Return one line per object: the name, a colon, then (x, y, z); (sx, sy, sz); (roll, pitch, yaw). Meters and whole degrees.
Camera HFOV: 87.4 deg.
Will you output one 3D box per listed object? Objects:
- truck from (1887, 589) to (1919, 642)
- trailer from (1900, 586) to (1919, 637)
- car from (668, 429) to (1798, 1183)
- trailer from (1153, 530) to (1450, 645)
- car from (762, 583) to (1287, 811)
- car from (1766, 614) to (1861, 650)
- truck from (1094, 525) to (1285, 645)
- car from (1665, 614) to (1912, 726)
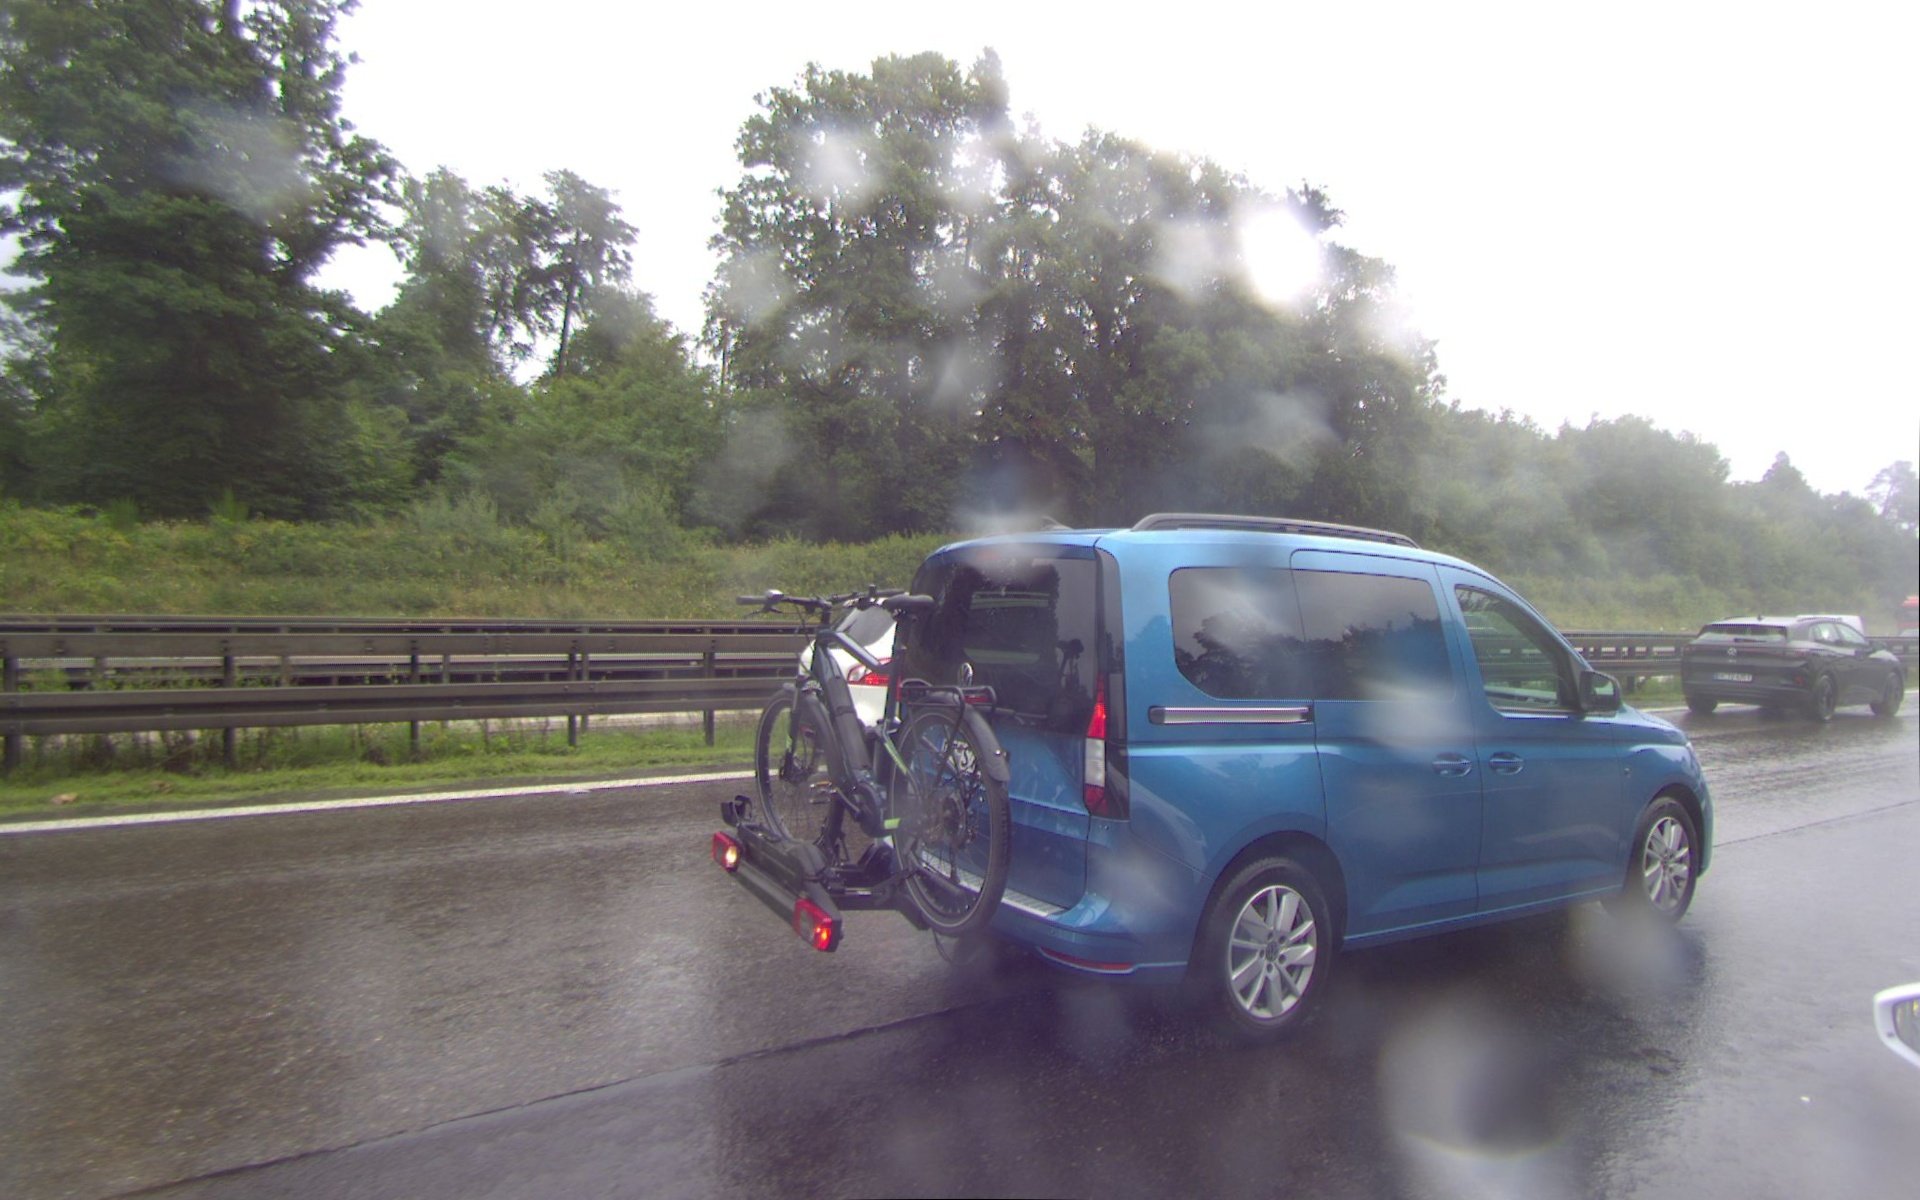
truck: (74.757, 1.247, 78.093); (4.835, 4.006, 2.690); (1, -1, -31)
trailer: (80.755, 1.060, 81.758); (13.803, 4.006, 2.705); (2, -2, -32)
car: (1.377, 0.561, 4.751); (4.952, 1.937, 2.260); (1, 0, -28)
trailer: (13.527, -0.303, 38.820); (13.408, 3.869, 3.008); (1, 0, -32)
car: (0.657, 0.711, 8.985); (4.413, 1.613, 1.837); (1, 0, -30)
car: (38.679, 1.429, 45.504); (4.655, 1.527, 1.983); (1, 0, -32)
truck: (8.112, -0.444, 35.400); (6.192, 3.869, 3.005); (1, 0, -31)
car: (13.889, 1.082, 16.791); (4.415, 1.613, 1.836); (1, 0, -31)
